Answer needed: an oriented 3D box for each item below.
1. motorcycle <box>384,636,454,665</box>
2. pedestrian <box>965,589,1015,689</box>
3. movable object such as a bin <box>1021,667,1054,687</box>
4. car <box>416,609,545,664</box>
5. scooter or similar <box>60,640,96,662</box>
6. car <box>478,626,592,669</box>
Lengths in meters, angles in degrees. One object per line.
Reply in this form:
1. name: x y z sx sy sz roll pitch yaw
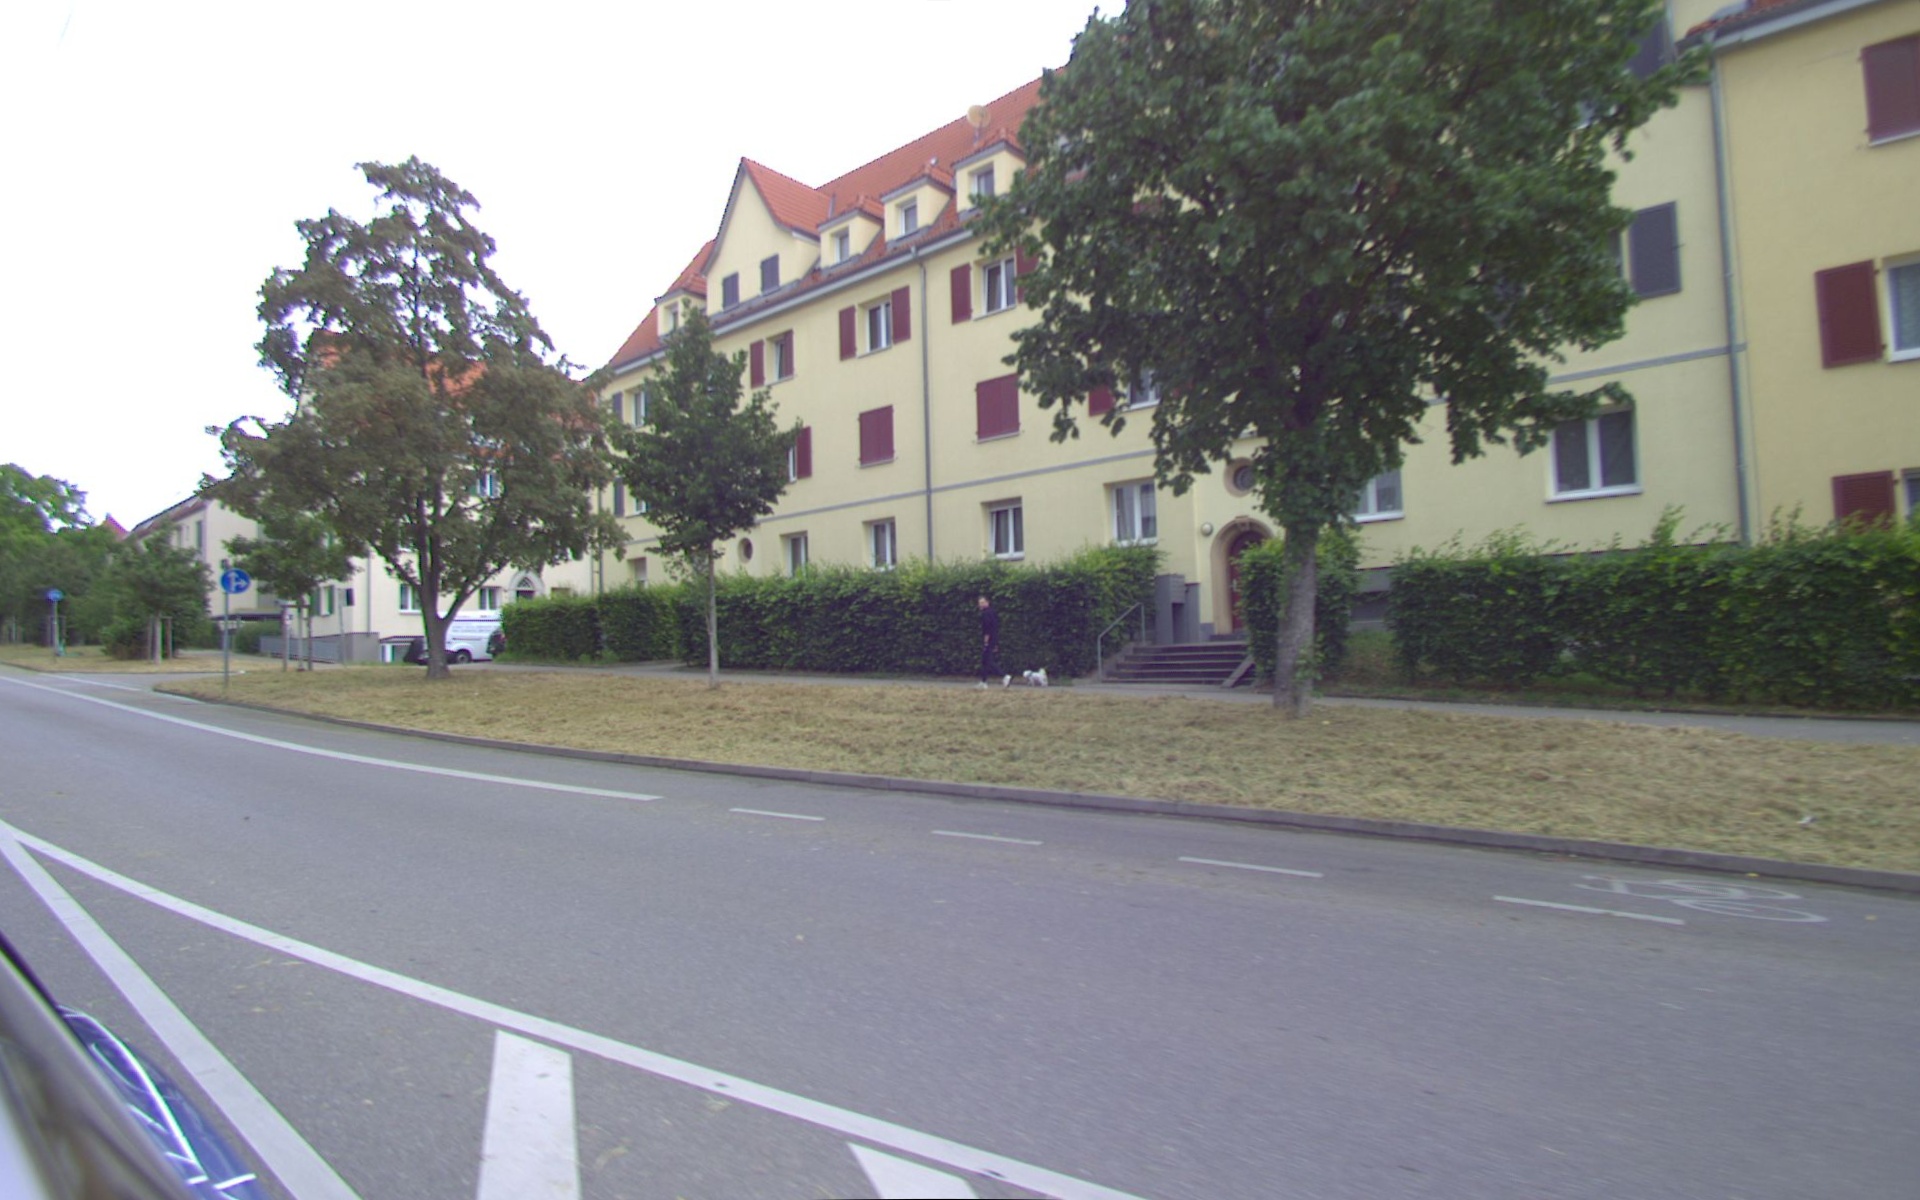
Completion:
1. motorcycle: -24.148 2.246 45.212 2.561 1.288 1.020 1 -2 -16
2. pedestrian: 0.552 0.717 18.659 0.753 1.793 0.508 -2 -2 41
3. movable object such as a bin: 1.460 1.441 19.092 0.303 0.350 0.582 1 -2 -44
4. car: -20.767 1.581 43.990 1.994 2.270 4.668 -2 -2 41
5. scooter or similar: -46.283 2.667 53.110 0.466 1.094 1.357 -2 -3 36
6. car: -16.970 1.875 40.533 1.689 1.542 3.865 -7 -5 40
